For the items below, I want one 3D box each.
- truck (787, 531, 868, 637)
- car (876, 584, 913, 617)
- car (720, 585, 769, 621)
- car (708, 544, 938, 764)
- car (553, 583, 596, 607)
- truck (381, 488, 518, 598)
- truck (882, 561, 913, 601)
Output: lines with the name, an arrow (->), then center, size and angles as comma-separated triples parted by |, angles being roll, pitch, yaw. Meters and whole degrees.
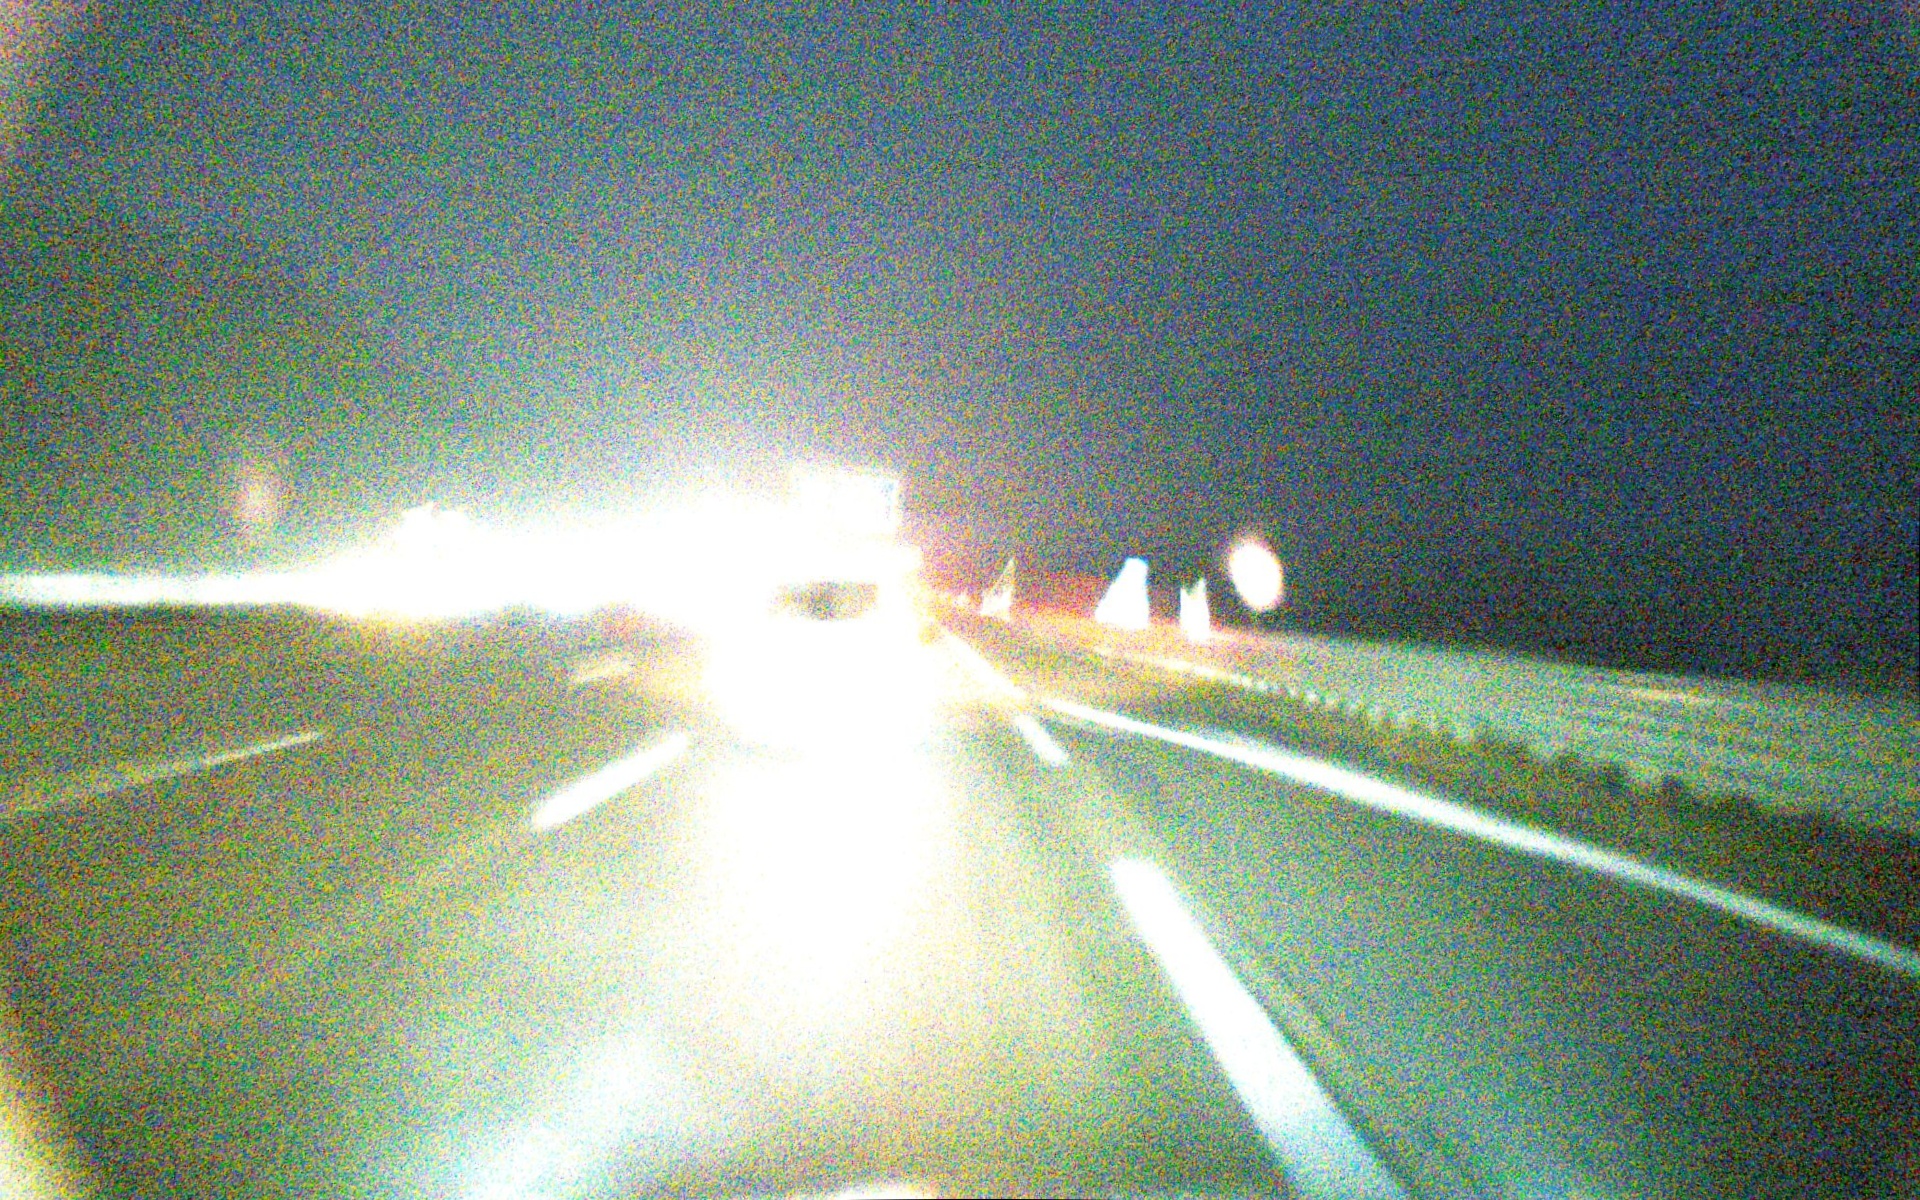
truck -> -7.570, -0.856, 96.621 | 4.084, 5.641, 13.066 | 2, 0, -3
car -> -3.692, 0.042, 92.564 | 1.954, 1.736, 4.193 | 2, 0, -3
car -> -11.575, 0.171, 89.145 | 1.953, 1.736, 4.195 | 5, 0, 0
car -> -1.289, 0.472, 16.793 | 1.914, 1.823, 5.121 | 2, 0, -3
car -> -22.967, -0.291, 98.547 | 1.673, 1.242, 4.270 | 4, 0, -3
truck -> -27.466, -2.946, 89.783 | 4.255, 5.229, 10.465 | 6, 0, -3
truck -> -8.306, -2.432, 217.535 | 3.748, 5.001, 11.599 | 2, 0, -3
